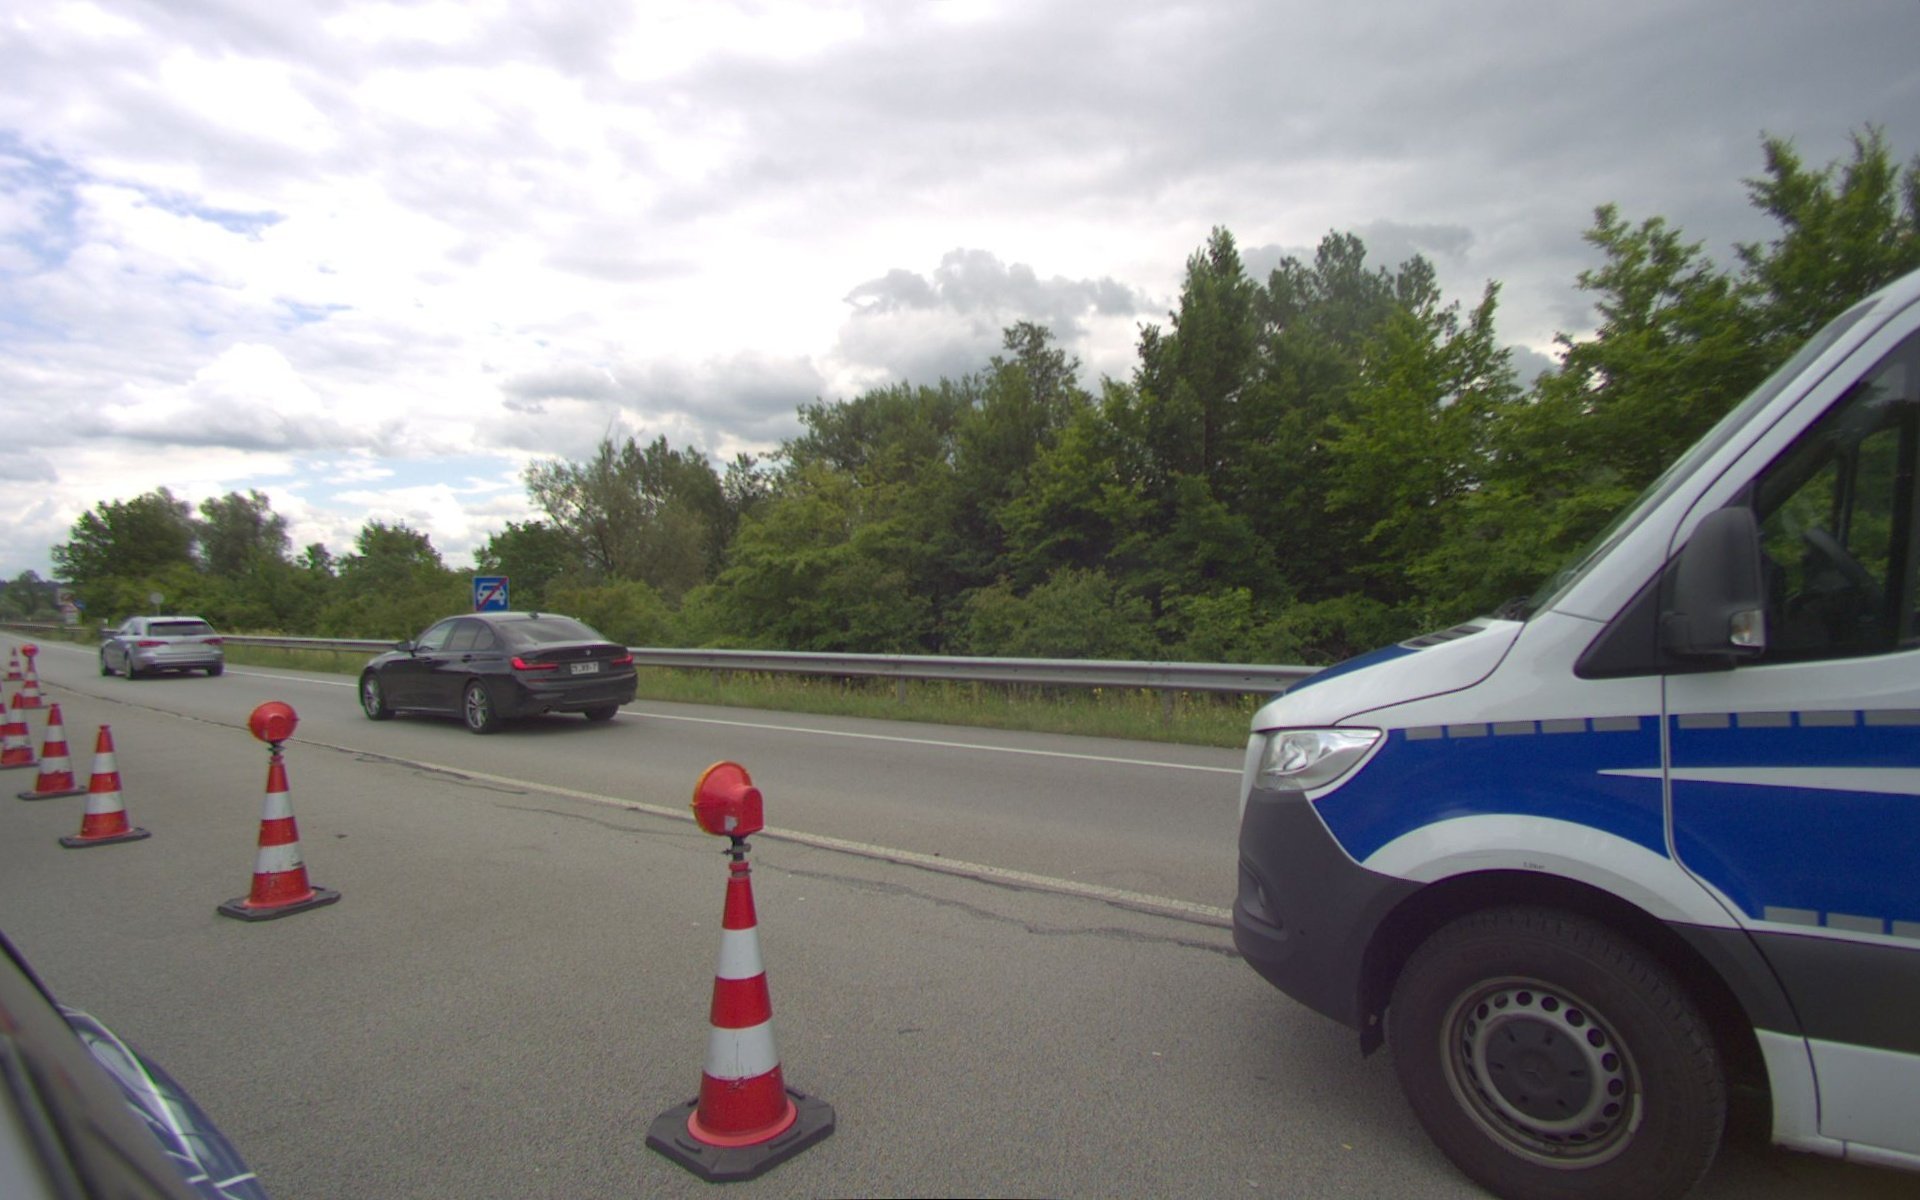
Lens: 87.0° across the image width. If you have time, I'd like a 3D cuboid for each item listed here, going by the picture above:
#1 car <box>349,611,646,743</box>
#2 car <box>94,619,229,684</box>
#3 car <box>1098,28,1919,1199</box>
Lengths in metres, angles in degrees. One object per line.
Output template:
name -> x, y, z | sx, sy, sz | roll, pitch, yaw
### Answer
car -> -6.155, 0.900, 13.259 | 4.329, 1.447, 1.693 | -1, -1, 37
car -> -19.234, 1.176, 24.307 | 4.370, 1.412, 1.662 | -1, -1, 39
car -> 3.107, 0.147, 2.166 | 5.272, 2.482, 2.010 | -1, -1, 38
